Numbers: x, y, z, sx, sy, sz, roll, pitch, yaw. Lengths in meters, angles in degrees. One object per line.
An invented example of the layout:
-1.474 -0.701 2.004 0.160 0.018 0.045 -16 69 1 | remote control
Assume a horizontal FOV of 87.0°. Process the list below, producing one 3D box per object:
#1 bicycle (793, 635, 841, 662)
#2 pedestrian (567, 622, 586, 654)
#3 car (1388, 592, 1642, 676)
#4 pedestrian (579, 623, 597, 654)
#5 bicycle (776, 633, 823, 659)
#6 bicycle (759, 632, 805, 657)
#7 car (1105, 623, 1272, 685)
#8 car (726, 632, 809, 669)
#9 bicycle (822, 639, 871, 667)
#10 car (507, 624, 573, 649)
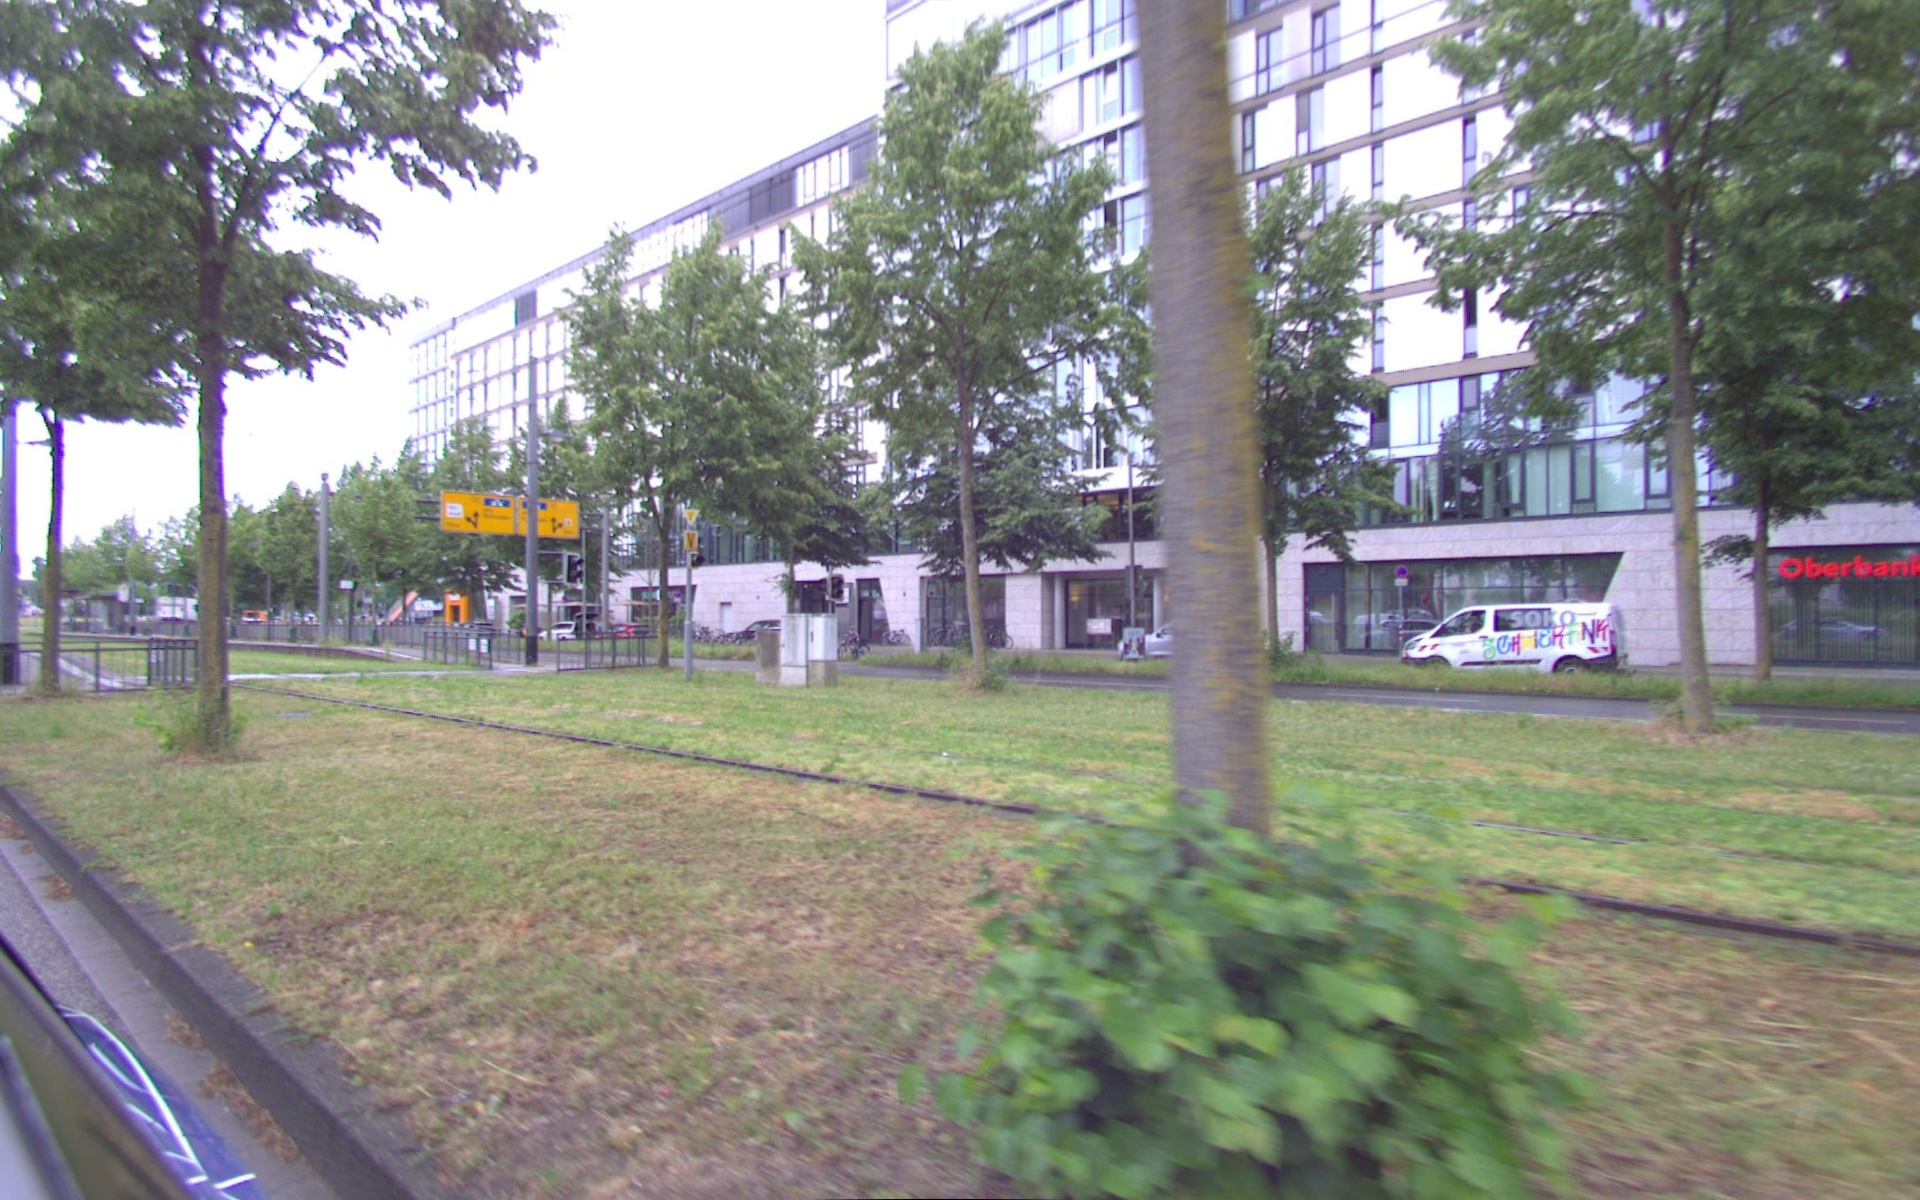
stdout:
-5.887 2.007 41.729 0.696 1.042 1.957 -2 -1 43 | bicycle
-21.037 2.083 55.488 0.793 1.704 0.703 -2 -1 44 | pedestrian
13.523 0.800 24.865 5.161 1.866 1.973 -1 -1 41 | car
-20.652 2.128 56.179 0.793 1.704 0.703 -2 -1 44 | pedestrian
-6.814 1.927 42.989 0.696 1.042 1.957 -1 -1 43 | bicycle
-7.727 1.921 43.943 0.696 1.042 1.957 -2 -1 43 | bicycle
6.865 1.571 30.622 4.461 1.725 2.122 -1 -1 41 | car
-9.774 2.523 51.214 4.190 1.706 1.973 -1 -1 41 | car
-4.540 2.127 40.532 0.696 1.042 1.957 -2 -1 43 | bicycle
-23.698 2.037 57.023 4.070 1.298 1.972 -1 -1 43 | car
